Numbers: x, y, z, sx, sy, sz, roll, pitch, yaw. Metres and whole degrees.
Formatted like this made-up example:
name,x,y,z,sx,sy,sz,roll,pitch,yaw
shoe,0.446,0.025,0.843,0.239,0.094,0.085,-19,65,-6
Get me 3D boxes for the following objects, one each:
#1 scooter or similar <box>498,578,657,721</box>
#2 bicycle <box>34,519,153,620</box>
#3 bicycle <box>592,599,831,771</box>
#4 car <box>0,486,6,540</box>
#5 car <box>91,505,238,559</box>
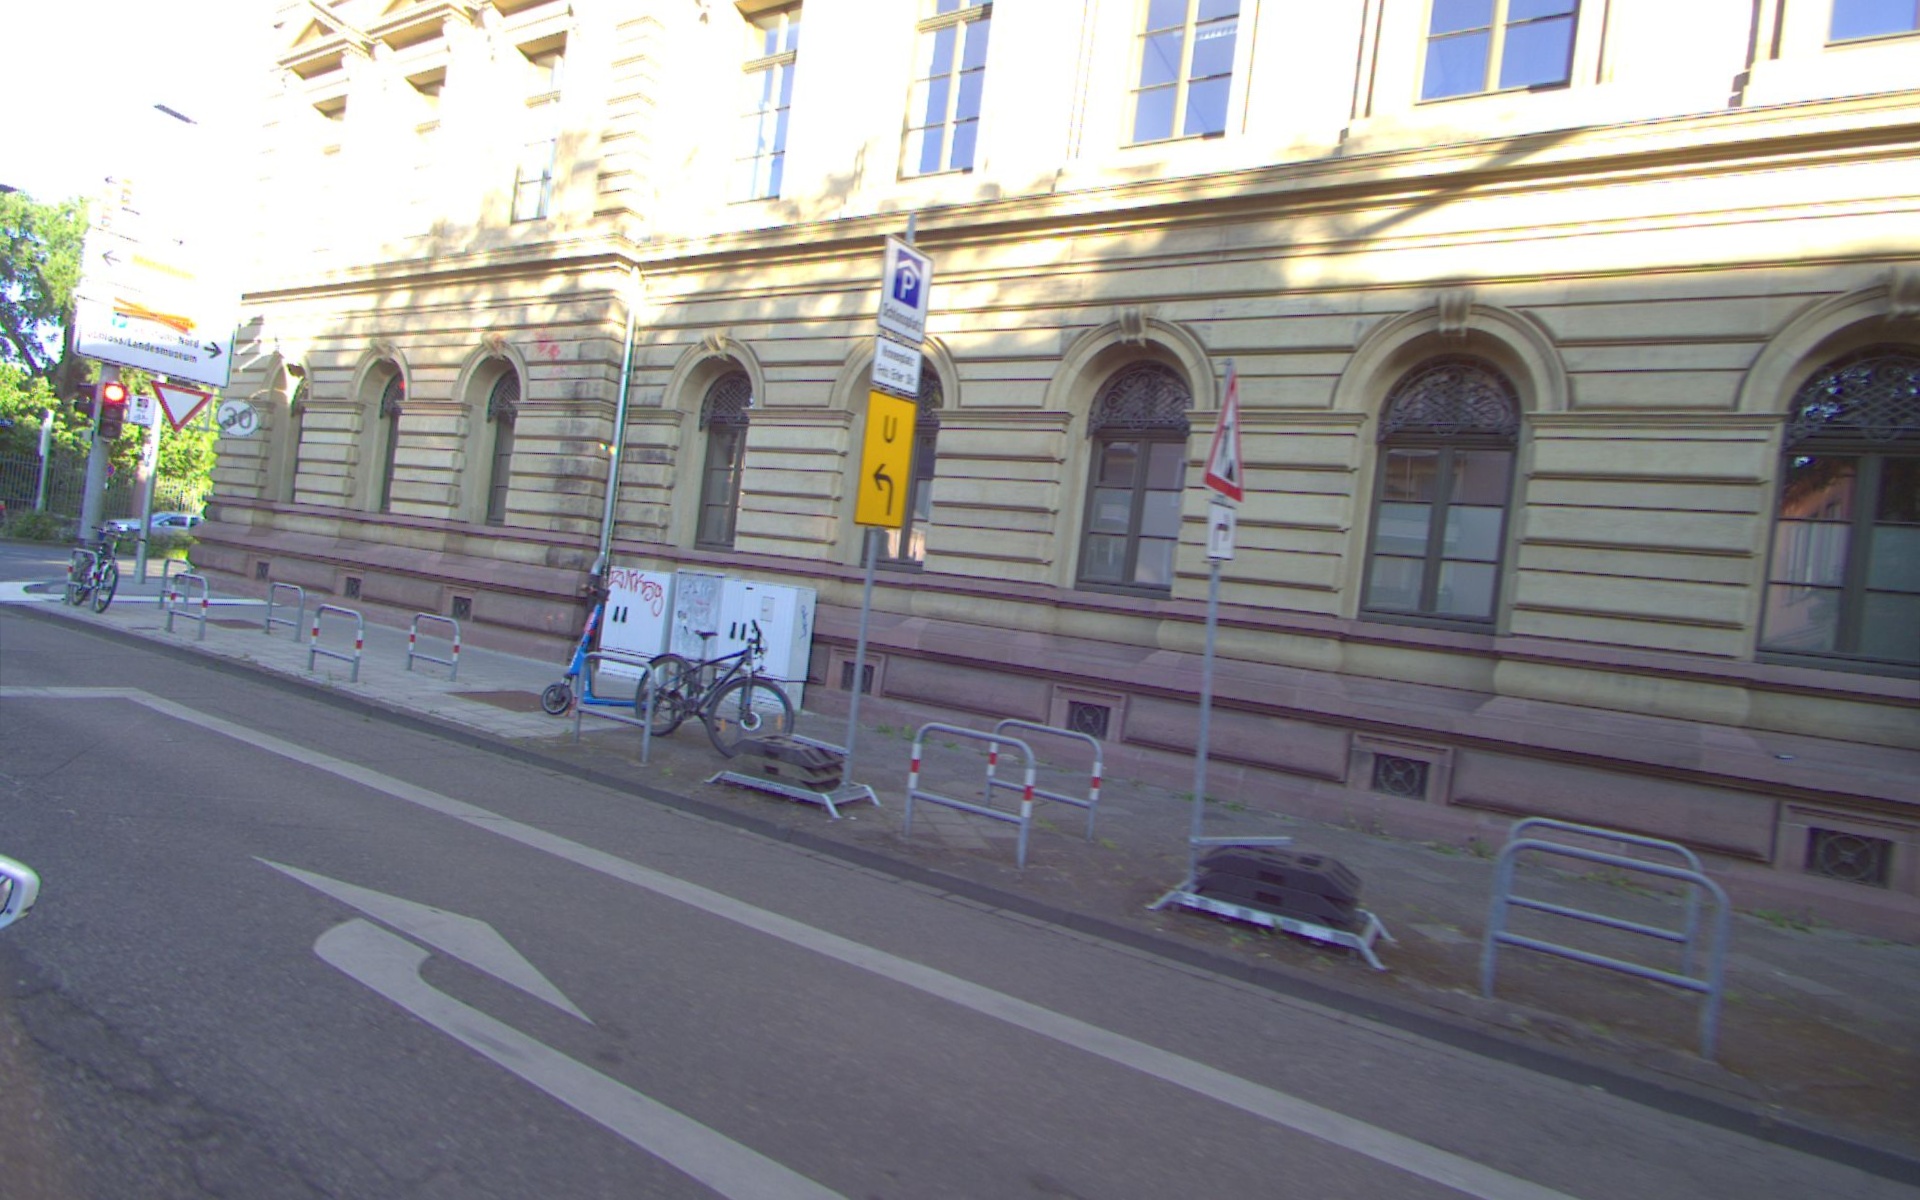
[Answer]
name,x,y,z,sx,sy,sz,roll,pitch,yaw
scooter or similar,-3.562,0.482,9.416,0.575,1.209,1.130,7,0,38
bicycle,-11.698,-0.425,13.560,1.889,1.203,0.583,5,-1,32
bicycle,-2.178,0.682,8.733,1.912,1.149,0.827,7,3,32
car,-27.925,-2.595,25.975,1.754,1.477,4.424,7,0,17
car,-31.645,-2.673,40.158,1.684,1.462,4.196,7,-1,26
